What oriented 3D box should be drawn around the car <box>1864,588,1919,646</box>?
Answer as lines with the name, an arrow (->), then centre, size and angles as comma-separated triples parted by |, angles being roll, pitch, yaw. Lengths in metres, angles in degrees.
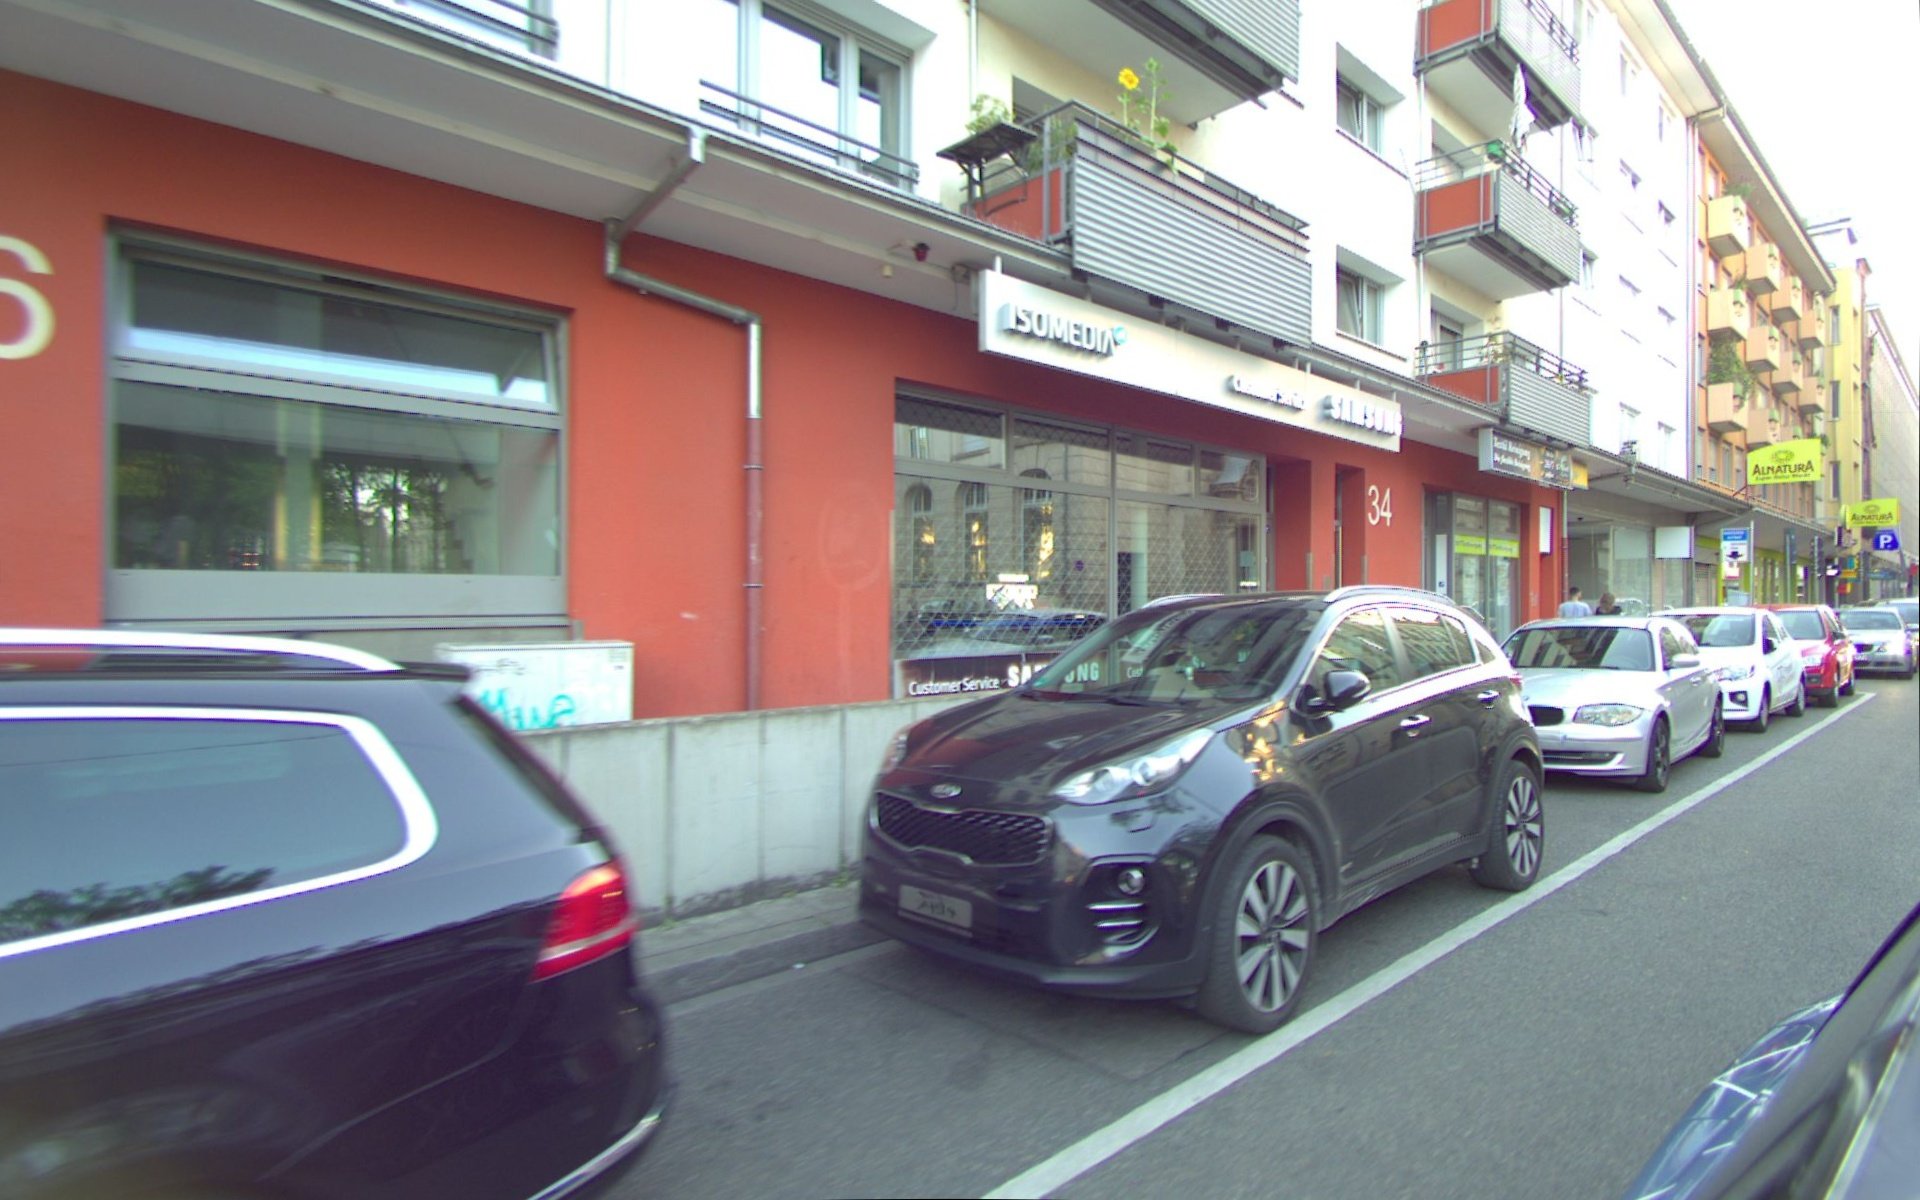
car -> 29.420, 0.524, 31.223 | 4.674, 1.690, 1.754 | 0, -3, -42

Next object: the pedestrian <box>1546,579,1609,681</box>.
pedestrian -> 10.640, 0.495, 17.434 | 0.780, 1.681, 0.649 | 0, 2, -40

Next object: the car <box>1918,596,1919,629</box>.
car -> 42.183, 0.534, 43.229 | 1.691, 1.429, 4.564 | -3, -3, 45

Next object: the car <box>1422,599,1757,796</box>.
car -> 6.192, 0.772, 9.720 | 4.385, 1.471, 1.699 | 1, -3, -44

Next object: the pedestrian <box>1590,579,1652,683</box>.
pedestrian -> 11.056, 0.502, 16.920 | 0.643, 1.681, 0.649 | 0, 2, -40

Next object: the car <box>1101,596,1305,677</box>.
car -> 4.604, 0.618, 18.887 | 3.929, 1.353, 1.743 | 0, 0, -41

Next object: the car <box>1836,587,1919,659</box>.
car -> 23.097, 0.554, 24.656 | 4.404, 1.631, 1.798 | 0, -3, -38

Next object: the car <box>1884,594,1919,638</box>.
car -> 33.019, 0.539, 34.525 | 4.674, 1.433, 1.693 | 0, -3, -42

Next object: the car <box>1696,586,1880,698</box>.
car -> 13.275, 0.625, 16.119 | 4.575, 1.532, 1.713 | 1, -3, -44

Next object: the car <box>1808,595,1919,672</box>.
car -> 19.164, 0.674, 21.125 | 4.604, 1.433, 1.737 | 1, -3, -44

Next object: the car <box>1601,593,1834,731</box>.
car -> 9.933, 0.726, 13.171 | 3.978, 1.532, 1.608 | 0, -3, -42

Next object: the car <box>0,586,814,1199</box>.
car -> -2.651, 0.770, 1.280 | 4.708, 1.522, 1.767 | 0, -3, -42

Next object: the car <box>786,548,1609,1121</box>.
car -> 1.592, 0.724, 5.223 | 4.708, 1.663, 1.766 | 0, -3, -43
